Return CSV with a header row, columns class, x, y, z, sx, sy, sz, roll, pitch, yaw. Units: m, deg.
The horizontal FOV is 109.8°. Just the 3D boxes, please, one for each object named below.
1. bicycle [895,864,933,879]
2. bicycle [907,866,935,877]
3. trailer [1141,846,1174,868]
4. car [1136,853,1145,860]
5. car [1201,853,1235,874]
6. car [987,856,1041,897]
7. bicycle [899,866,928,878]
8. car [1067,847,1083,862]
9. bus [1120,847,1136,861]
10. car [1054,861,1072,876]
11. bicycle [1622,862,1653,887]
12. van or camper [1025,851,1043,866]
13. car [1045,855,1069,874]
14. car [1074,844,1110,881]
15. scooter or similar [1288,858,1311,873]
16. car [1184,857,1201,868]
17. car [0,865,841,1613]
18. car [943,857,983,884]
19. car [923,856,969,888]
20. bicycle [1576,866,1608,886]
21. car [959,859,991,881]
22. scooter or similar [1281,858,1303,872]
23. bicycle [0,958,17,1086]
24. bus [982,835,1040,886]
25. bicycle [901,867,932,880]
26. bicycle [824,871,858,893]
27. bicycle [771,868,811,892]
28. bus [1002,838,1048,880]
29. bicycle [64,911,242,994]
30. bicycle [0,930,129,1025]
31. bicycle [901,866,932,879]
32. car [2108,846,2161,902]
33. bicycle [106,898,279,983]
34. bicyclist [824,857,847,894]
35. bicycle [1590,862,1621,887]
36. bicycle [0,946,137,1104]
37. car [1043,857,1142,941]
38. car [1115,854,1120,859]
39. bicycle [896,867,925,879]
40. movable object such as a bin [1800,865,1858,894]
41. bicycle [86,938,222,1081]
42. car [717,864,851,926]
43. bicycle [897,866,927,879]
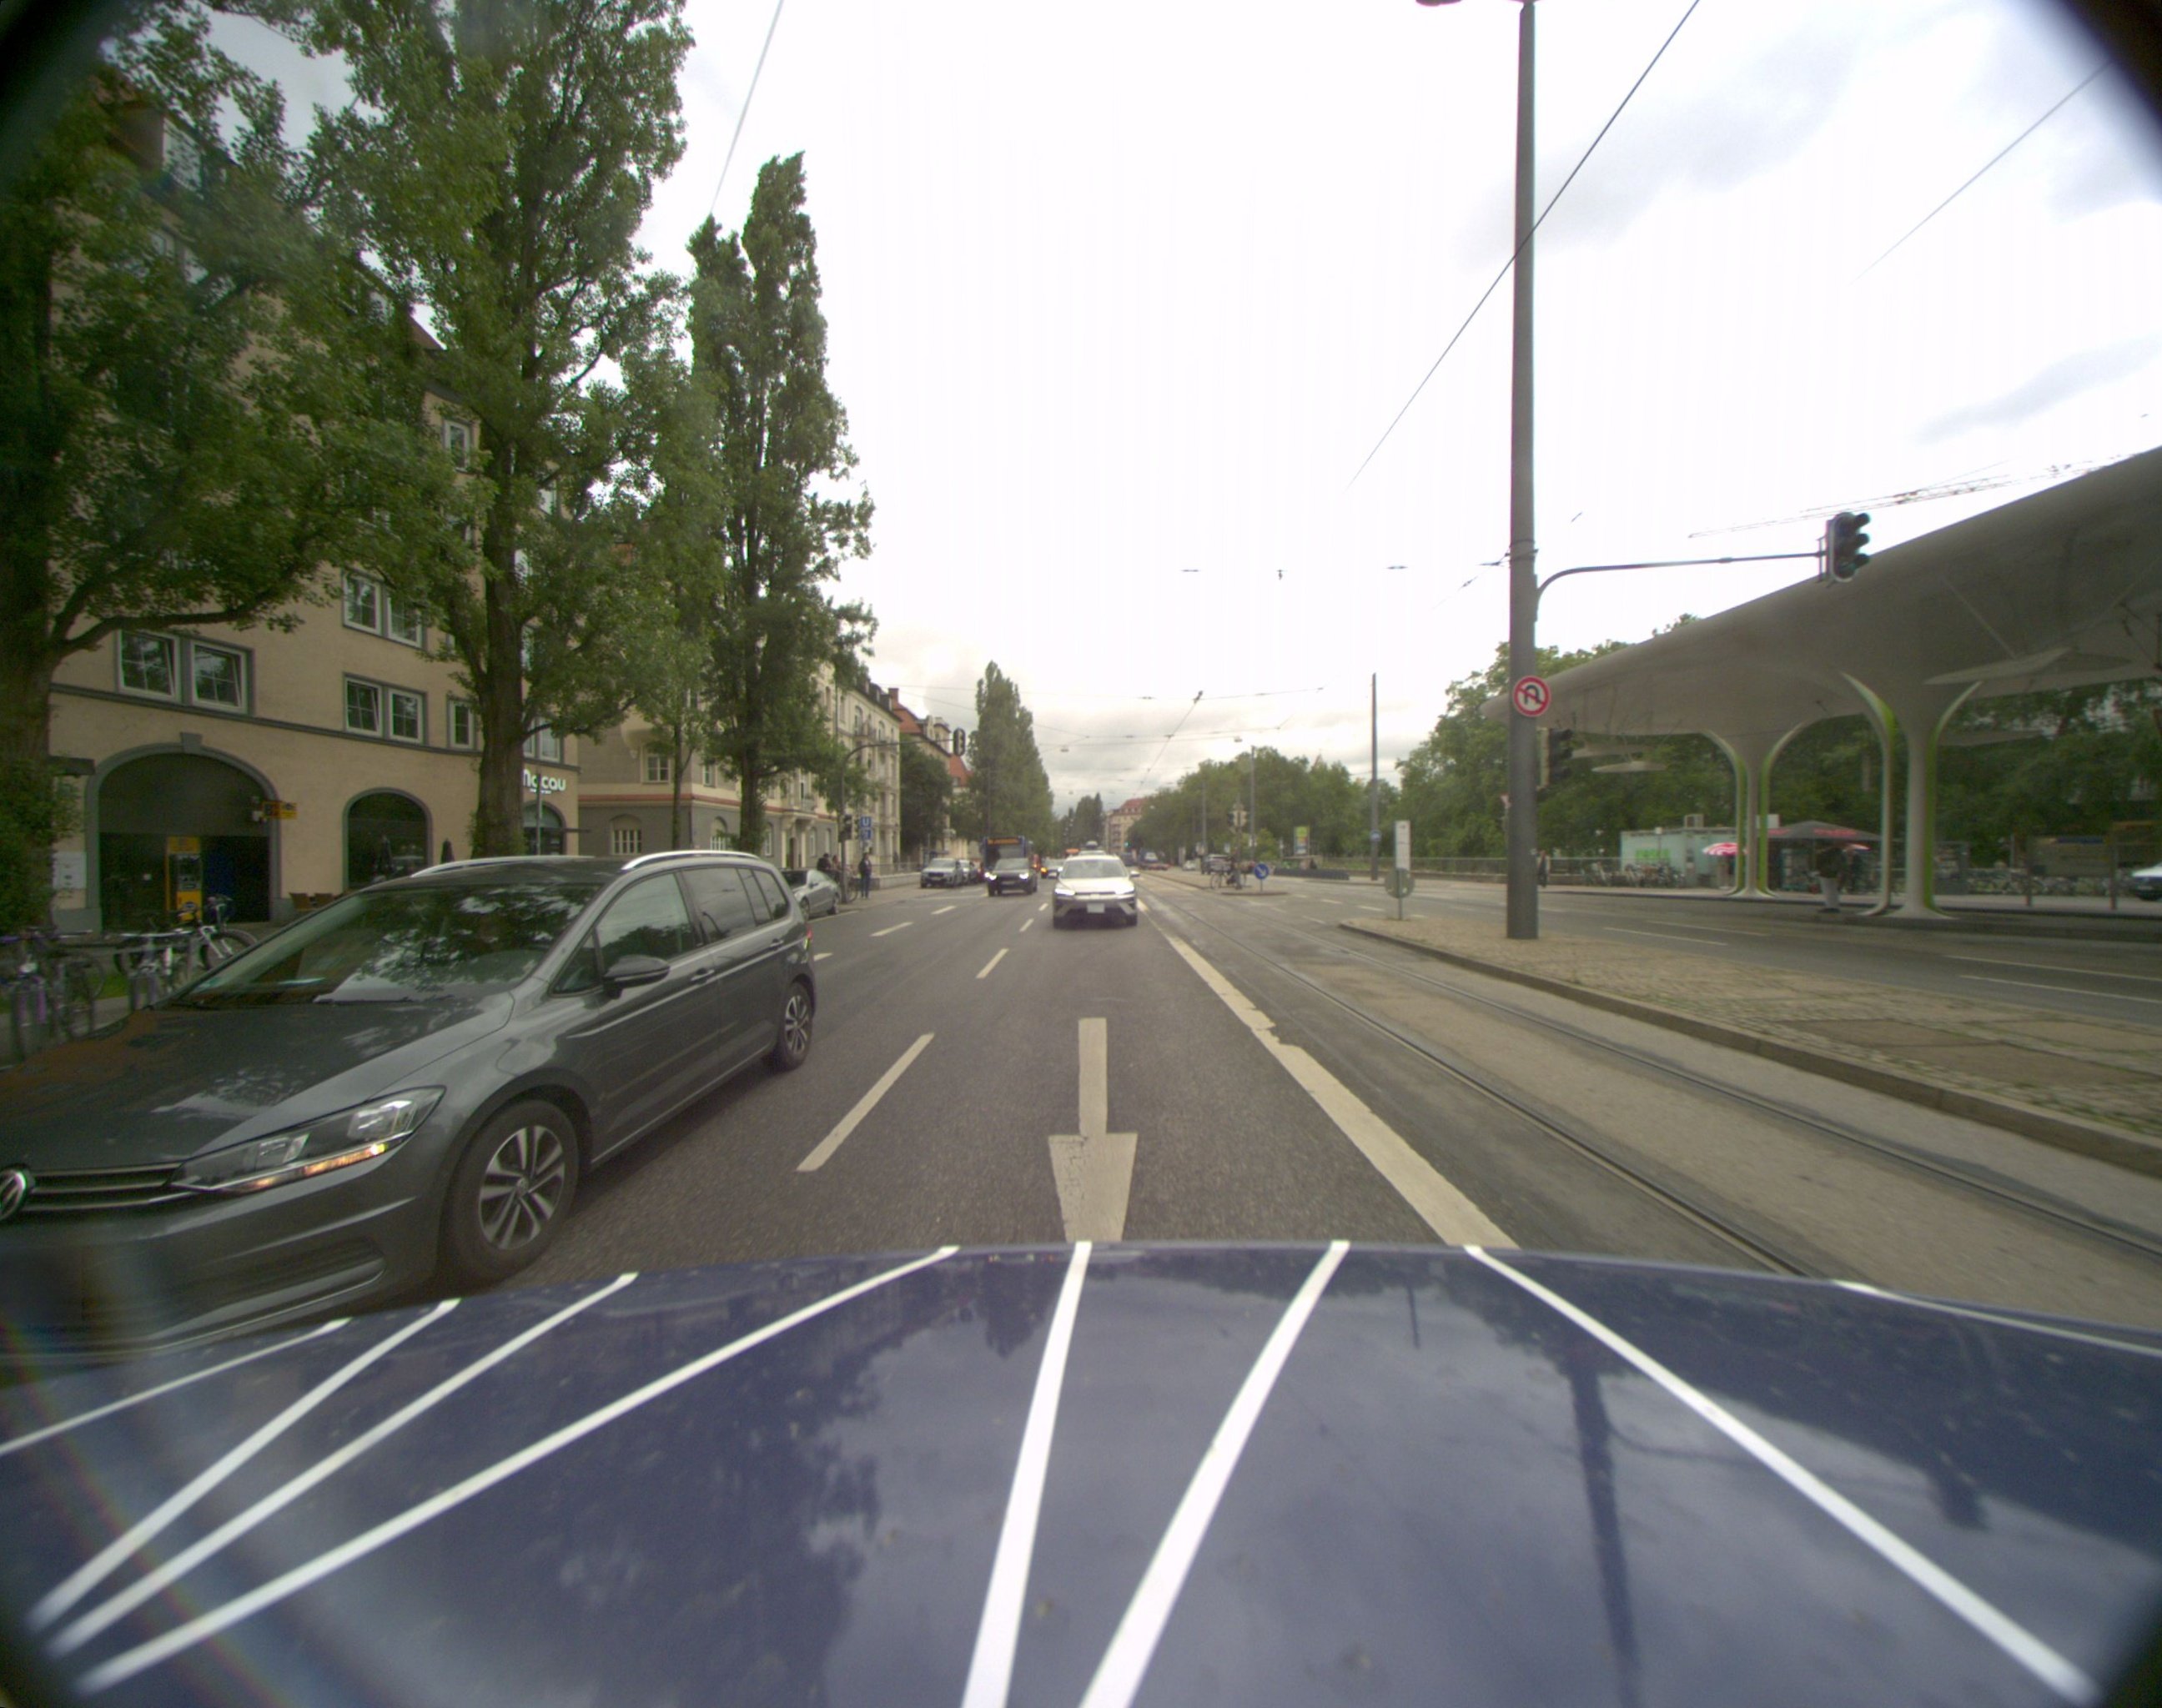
class,x,y,z,sx,sy,sz,roll,pitch,yaw
bicycle,-13.424,1.400,61.143,2.922,1.141,0.639,-2,1,-17
bicycle,-14.165,1.538,67.268,2.323,0.916,0.640,-2,1,-2
trailer,10.314,0.350,103.811,2.617,2.666,15.638,1,0,-1
car,14.259,0.688,181.114,1.809,1.674,4.000,0,0,1
car,11.317,0.745,62.827,1.868,1.629,4.677,1,0,-1
car,-2.735,0.898,31.777,1.780,1.495,3.970,-3,0,1
bicycle,-14.093,1.539,63.903,2.323,0.916,0.640,-2,1,-2
car,-1.144,0.072,143.936,2.806,2.835,5.114,0,0,1
bus,10.832,0.016,174.944,2.632,2.949,13.414,1,0,-1
car,-1.769,1.451,75.343,1.704,1.360,3.632,0,0,1
bicycle,25.486,0.945,34.809,0.479,1.090,1.851,0,0,15
van or camper,-6.597,0.575,107.300,2.124,2.086,5.514,0,0,0
car,-1.909,0.833,60.529,1.704,1.425,4.245,0,0,1
car,0.674,0.481,45.604,1.998,2.100,4.000,-2,0,1
scooter or similar,17.283,0.884,60.068,1.692,1.165,0.562,0,0,-2
car,15.756,1.170,107.365,1.893,1.521,4.000,0,0,1
car,-3.026,0.951,4.116,1.776,1.637,4.708,-2,0,2
car,-7.432,1.015,48.032,1.730,1.567,3.967,0,0,2
car,-7.578,0.951,43.085,1.737,1.651,4.502,2,0,0
bicycle,23.622,1.013,35.168,0.479,0.889,1.850,0,0,9
car,-7.352,1.080,53.121,1.730,1.500,3.742,0,0,0
scooter or similar,17.265,0.882,62.249,1.695,1.165,0.561,-1,0,-18
bicycle,-8.317,1.321,5.397,0.376,0.990,1.837,-1,-1,-38
bus,-4.462,0.369,50.444,2.637,2.956,9.466,-2,0,1
bicycle,-12.891,1.490,59.662,2.326,0.916,0.586,-2,1,-16
bicycle,-12.220,1.429,38.770,0.445,1.017,1.842,-1,1,28
bicycle,-15.095,1.326,39.577,1.890,1.147,0.464,-2,1,-41
bus,-4.257,0.348,59.490,2.637,2.956,8.534,-2,0,1
bicycle,-12.444,1.320,10.205,1.892,1.048,0.458,-1,1,3
bicycle,-11.628,1.363,8.140,0.458,0.887,1.893,-1,0,0
bicycle,-13.117,1.499,60.526,2.326,0.916,0.586,-2,1,-16
car,39.835,0.687,26.406,4.923,1.936,1.872,0,0,11
bicycle,-12.929,1.252,11.081,1.892,1.167,0.582,-1,1,3
bicyclist,-10.622,0.920,32.891,0.681,1.594,0.939,0,1,1
bicycle,24.162,0.918,35.048,0.479,1.090,1.851,0,0,12
bicycle,-8.281,1.318,6.160,0.376,0.990,1.837,-1,-1,-38
car,0.303,0.855,16.665,1.812,1.496,4.953,-1,0,2
car,12.111,0.797,250.416,1.628,1.473,3.602,0,0,1
bicycle,-14.007,1.537,62.480,2.325,0.916,0.586,-2,1,-11
movable object such as a bin,29.247,0.994,29.731,1.336,1.078,0.957,0,0,2
bicycle,-8.223,1.315,6.800,0.376,0.990,1.837,-1,-1,-38
car,-8.015,1.048,21.043,1.999,1.432,4.528,0,0,-1
bicycle,-14.038,1.537,63.194,2.323,0.916,0.640,-2,1,-2
